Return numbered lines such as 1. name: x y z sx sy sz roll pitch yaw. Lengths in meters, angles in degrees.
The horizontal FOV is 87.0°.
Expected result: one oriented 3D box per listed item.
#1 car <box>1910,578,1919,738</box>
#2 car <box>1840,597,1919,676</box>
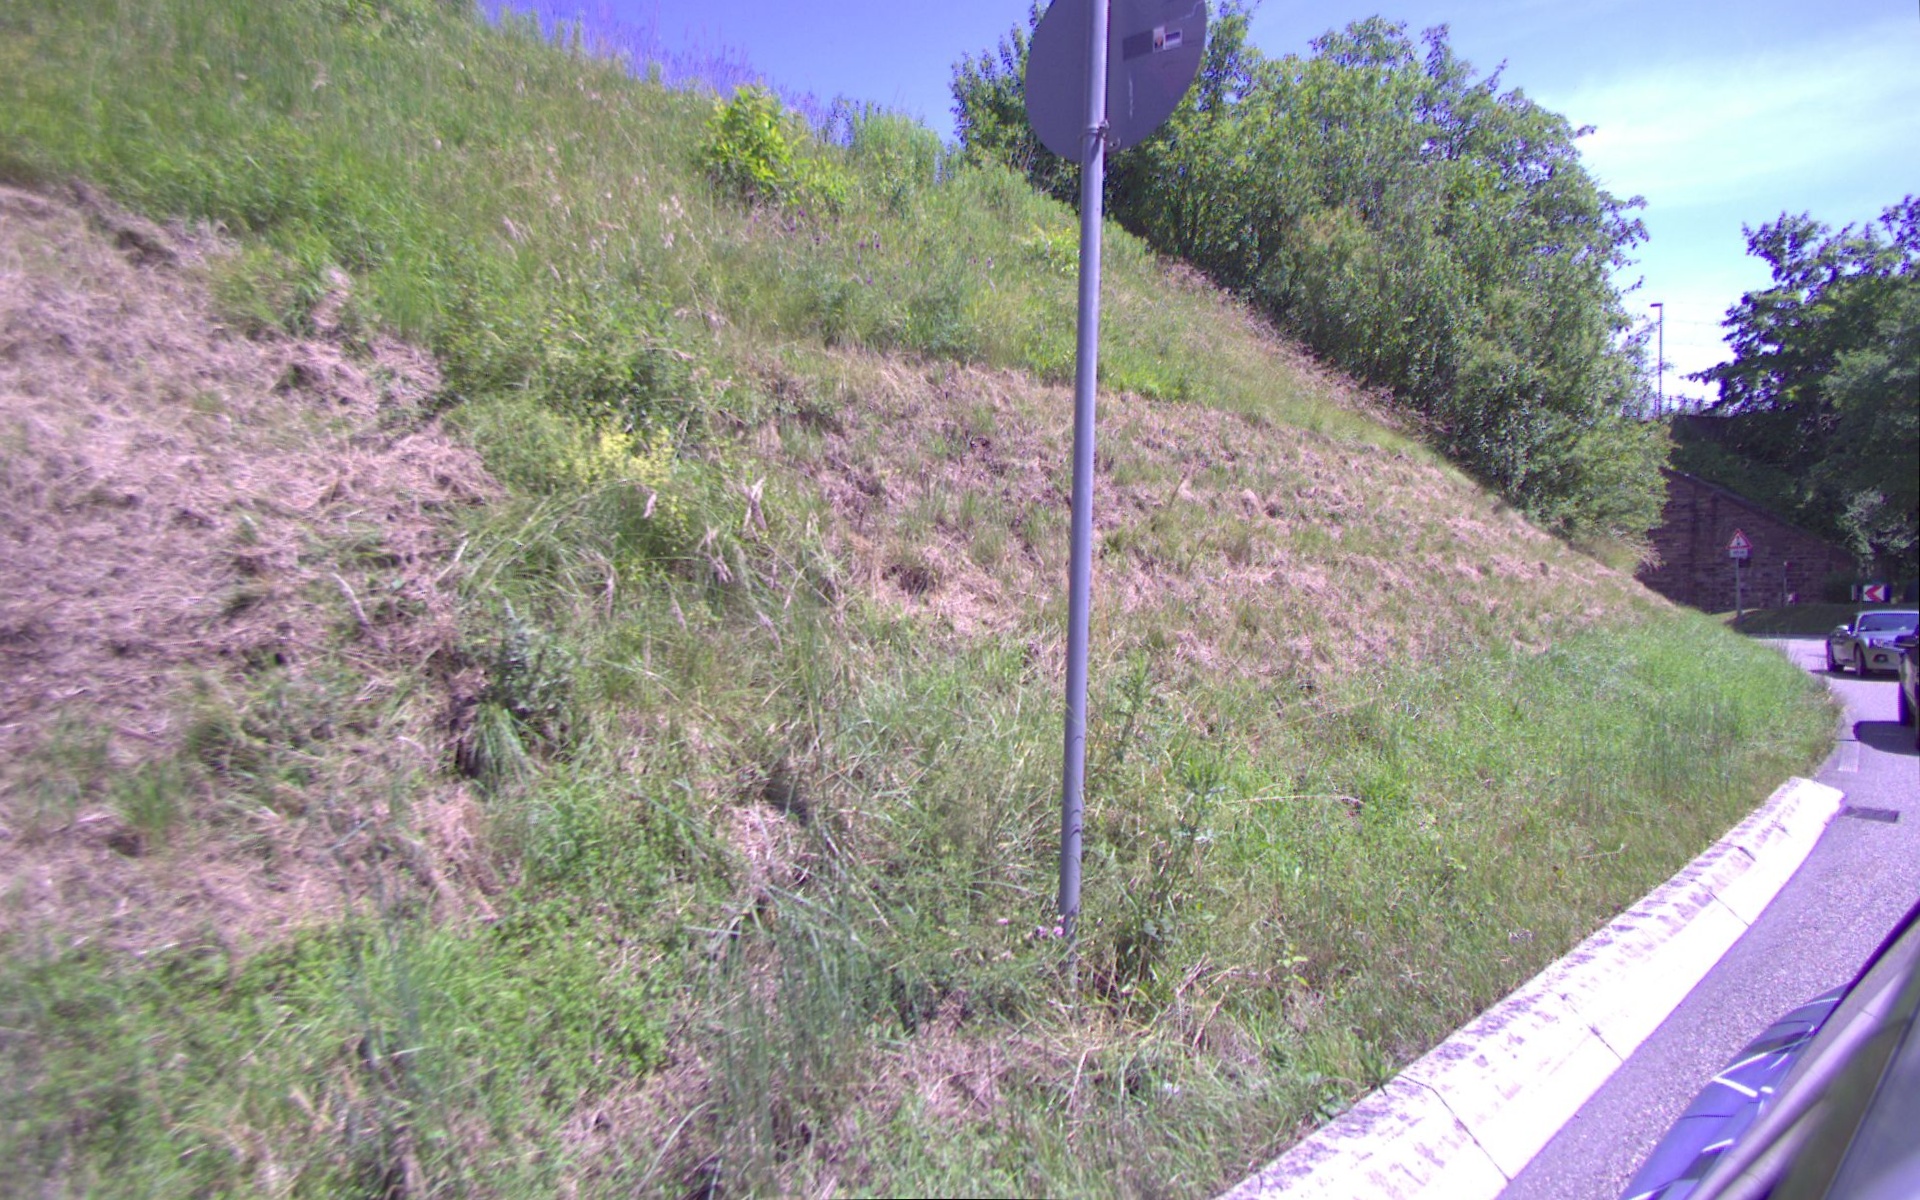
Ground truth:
1. car: 10.893 0.582 10.229 1.790 1.599 3.741 0 0 42
2. car: 17.769 0.640 19.003 1.640 1.339 3.392 1 1 37
